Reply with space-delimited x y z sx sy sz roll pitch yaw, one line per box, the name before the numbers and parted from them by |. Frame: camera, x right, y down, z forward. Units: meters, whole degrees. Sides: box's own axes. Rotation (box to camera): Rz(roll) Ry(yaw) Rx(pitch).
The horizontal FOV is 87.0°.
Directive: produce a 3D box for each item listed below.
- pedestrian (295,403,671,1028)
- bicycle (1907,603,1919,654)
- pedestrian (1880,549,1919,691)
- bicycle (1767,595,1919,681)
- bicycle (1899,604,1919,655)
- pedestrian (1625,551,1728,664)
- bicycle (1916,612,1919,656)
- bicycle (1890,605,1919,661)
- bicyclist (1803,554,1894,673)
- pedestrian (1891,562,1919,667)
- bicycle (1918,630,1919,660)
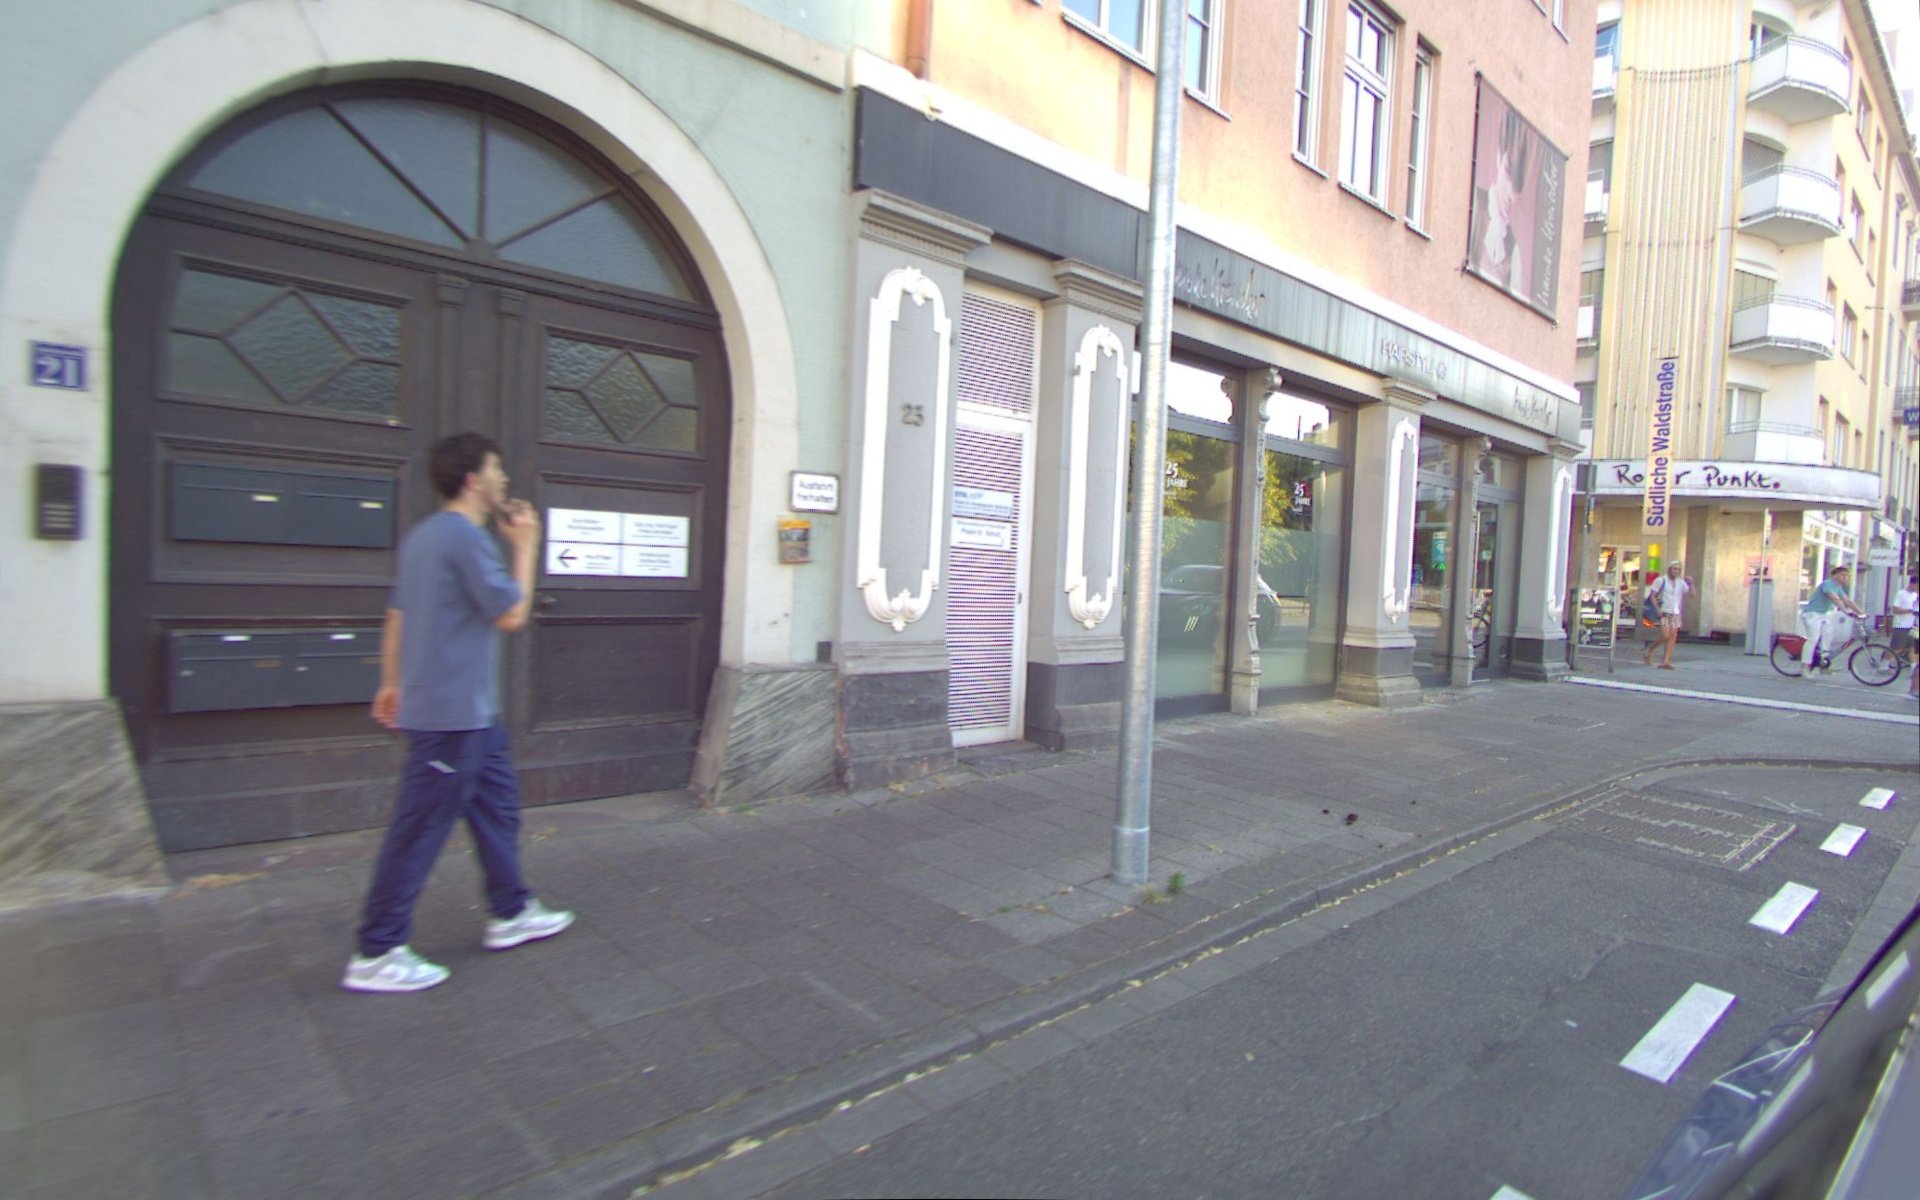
pedestrian | -1.549 0.287 3.274 0.857 1.662 0.824 1 3 -44
bicycle | 22.694 0.716 22.807 1.841 1.136 0.587 6 4 38
pedestrian | 13.493 0.282 13.930 0.932 1.920 0.818 4 2 27
bicycle | 14.349 0.576 16.363 0.778 1.200 1.828 1 3 -32
bicycle | 22.026 0.731 22.079 2.169 1.088 0.794 6 4 42
pedestrian | 11.982 0.096 16.968 0.810 1.796 1.101 2 2 0
bicycle | 21.451 0.688 21.315 1.779 1.187 0.614 6 3 38
bicycle | 19.633 0.716 19.936 1.779 1.076 0.709 6 4 38
bicyclist | 14.366 0.202 16.363 0.815 1.848 0.837 1 2 -34
pedestrian | 17.290 0.265 18.050 0.821 1.839 0.860 4 2 36
bicycle | 20.536 0.655 20.302 1.844 1.254 0.629 5 3 44
